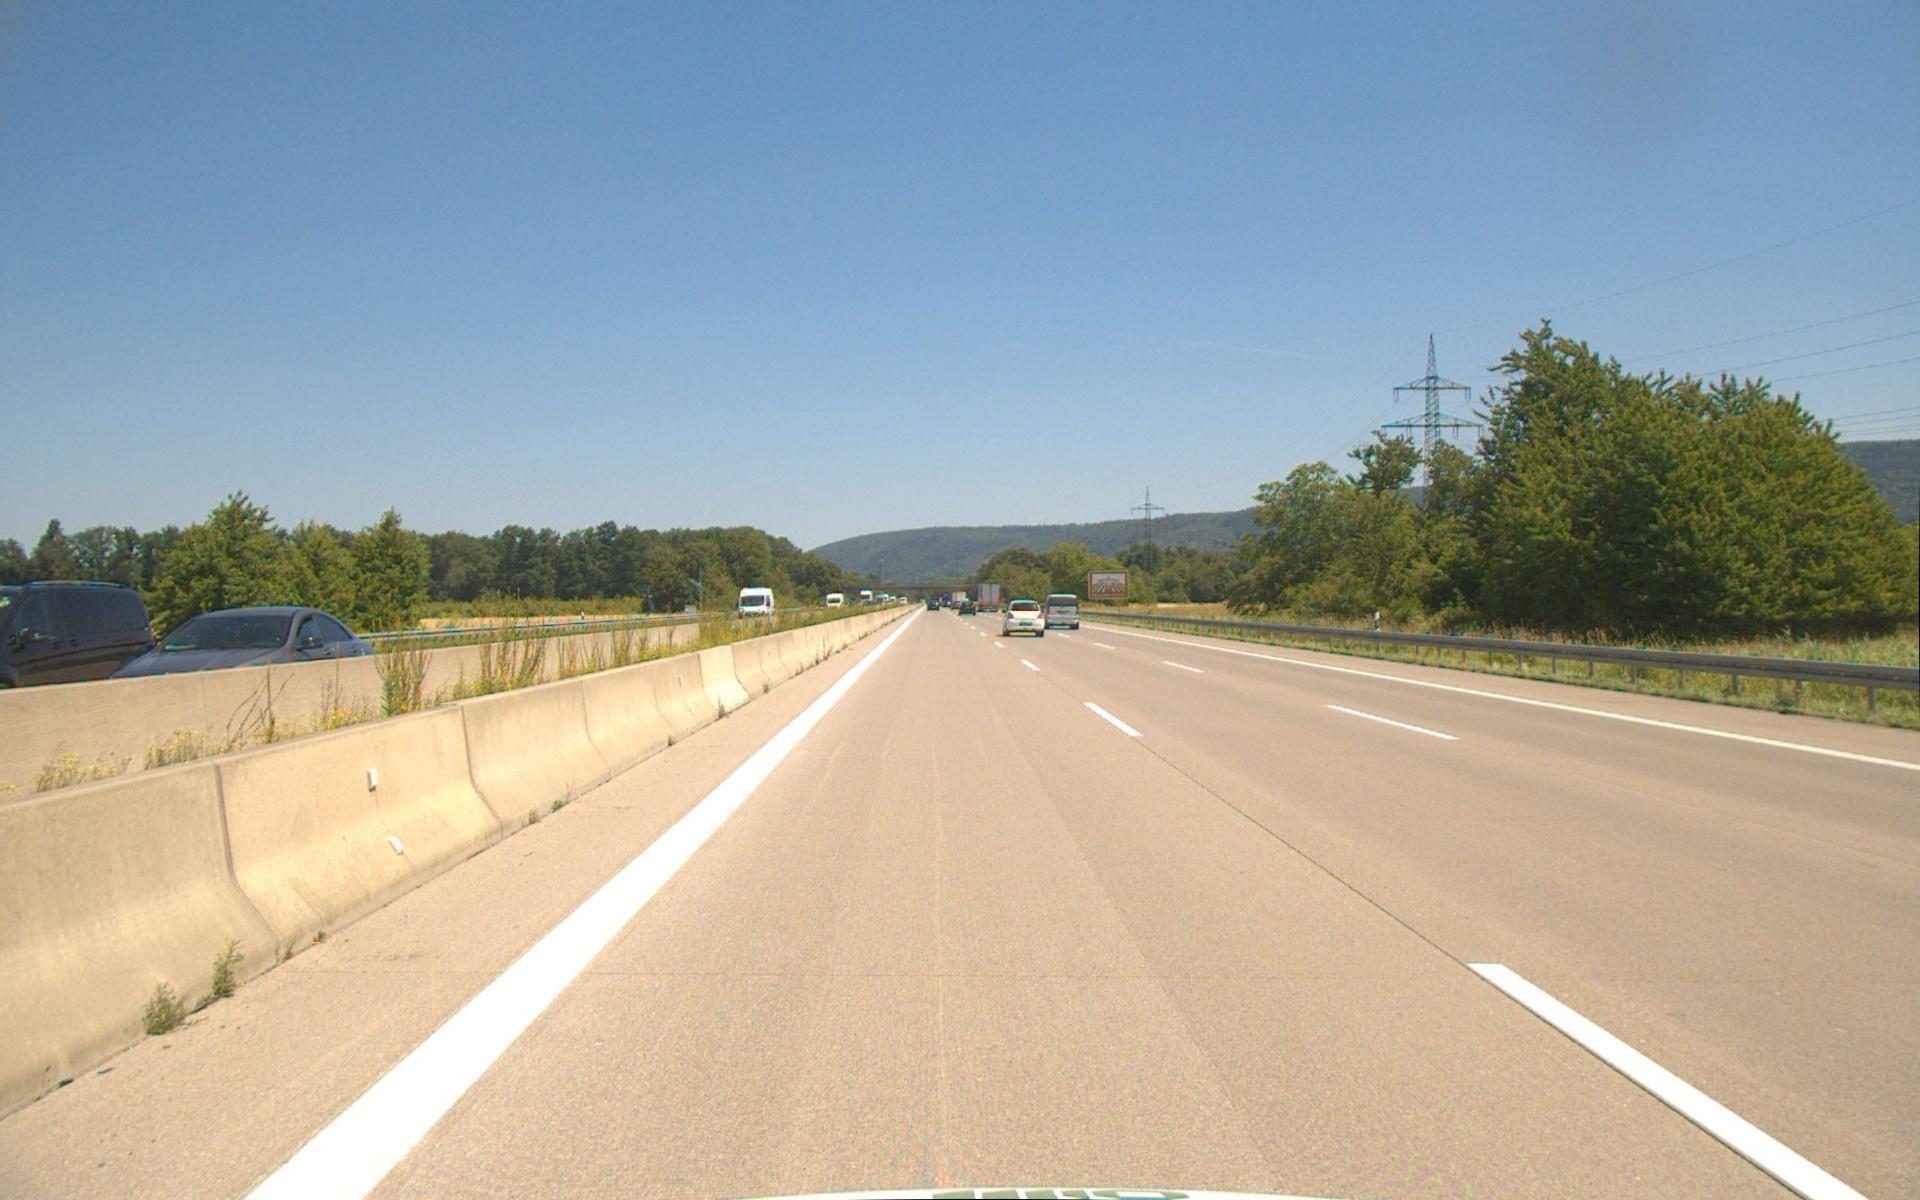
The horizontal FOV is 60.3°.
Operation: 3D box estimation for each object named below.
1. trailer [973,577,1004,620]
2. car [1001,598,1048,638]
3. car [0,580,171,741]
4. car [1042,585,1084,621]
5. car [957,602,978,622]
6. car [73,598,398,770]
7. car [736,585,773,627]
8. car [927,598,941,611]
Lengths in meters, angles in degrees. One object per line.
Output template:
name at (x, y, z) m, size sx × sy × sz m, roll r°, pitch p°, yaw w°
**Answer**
trailer at (3.961, -0.230, 233.935) m, size 3.646 × 5.913 × 12.155 m, roll 1°, pitch 0°, yaw -2°
car at (2.774, 0.774, 72.004) m, size 1.783 × 1.691 × 3.999 m, roll 0°, pitch 0°, yaw -2°
car at (-12.331, 0.698, 21.158) m, size 1.953 × 1.911 × 5.184 m, roll 1°, pitch 0°, yaw 0°
car at (5.726, 0.153, 92.202) m, size 1.953 × 1.881 × 3.999 m, roll 1°, pitch 0°, yaw -2°
car at (0.799, 1.236, 172.377) m, size 1.954 × 1.881 × 3.998 m, roll 3°, pitch 0°, yaw -2°
car at (-8.186, 0.869, 19.139) m, size 1.953 × 1.747 × 4.000 m, roll 1°, pitch 0°, yaw 0°
car at (-14.482, 0.373, 116.676) m, size 2.219 × 2.837 × 7.064 m, roll 1°, pitch 0°, yaw -5°
car at (-3.725, 0.681, 234.060) m, size 1.890 × 1.825 × 3.999 m, roll 1°, pitch 0°, yaw -2°
